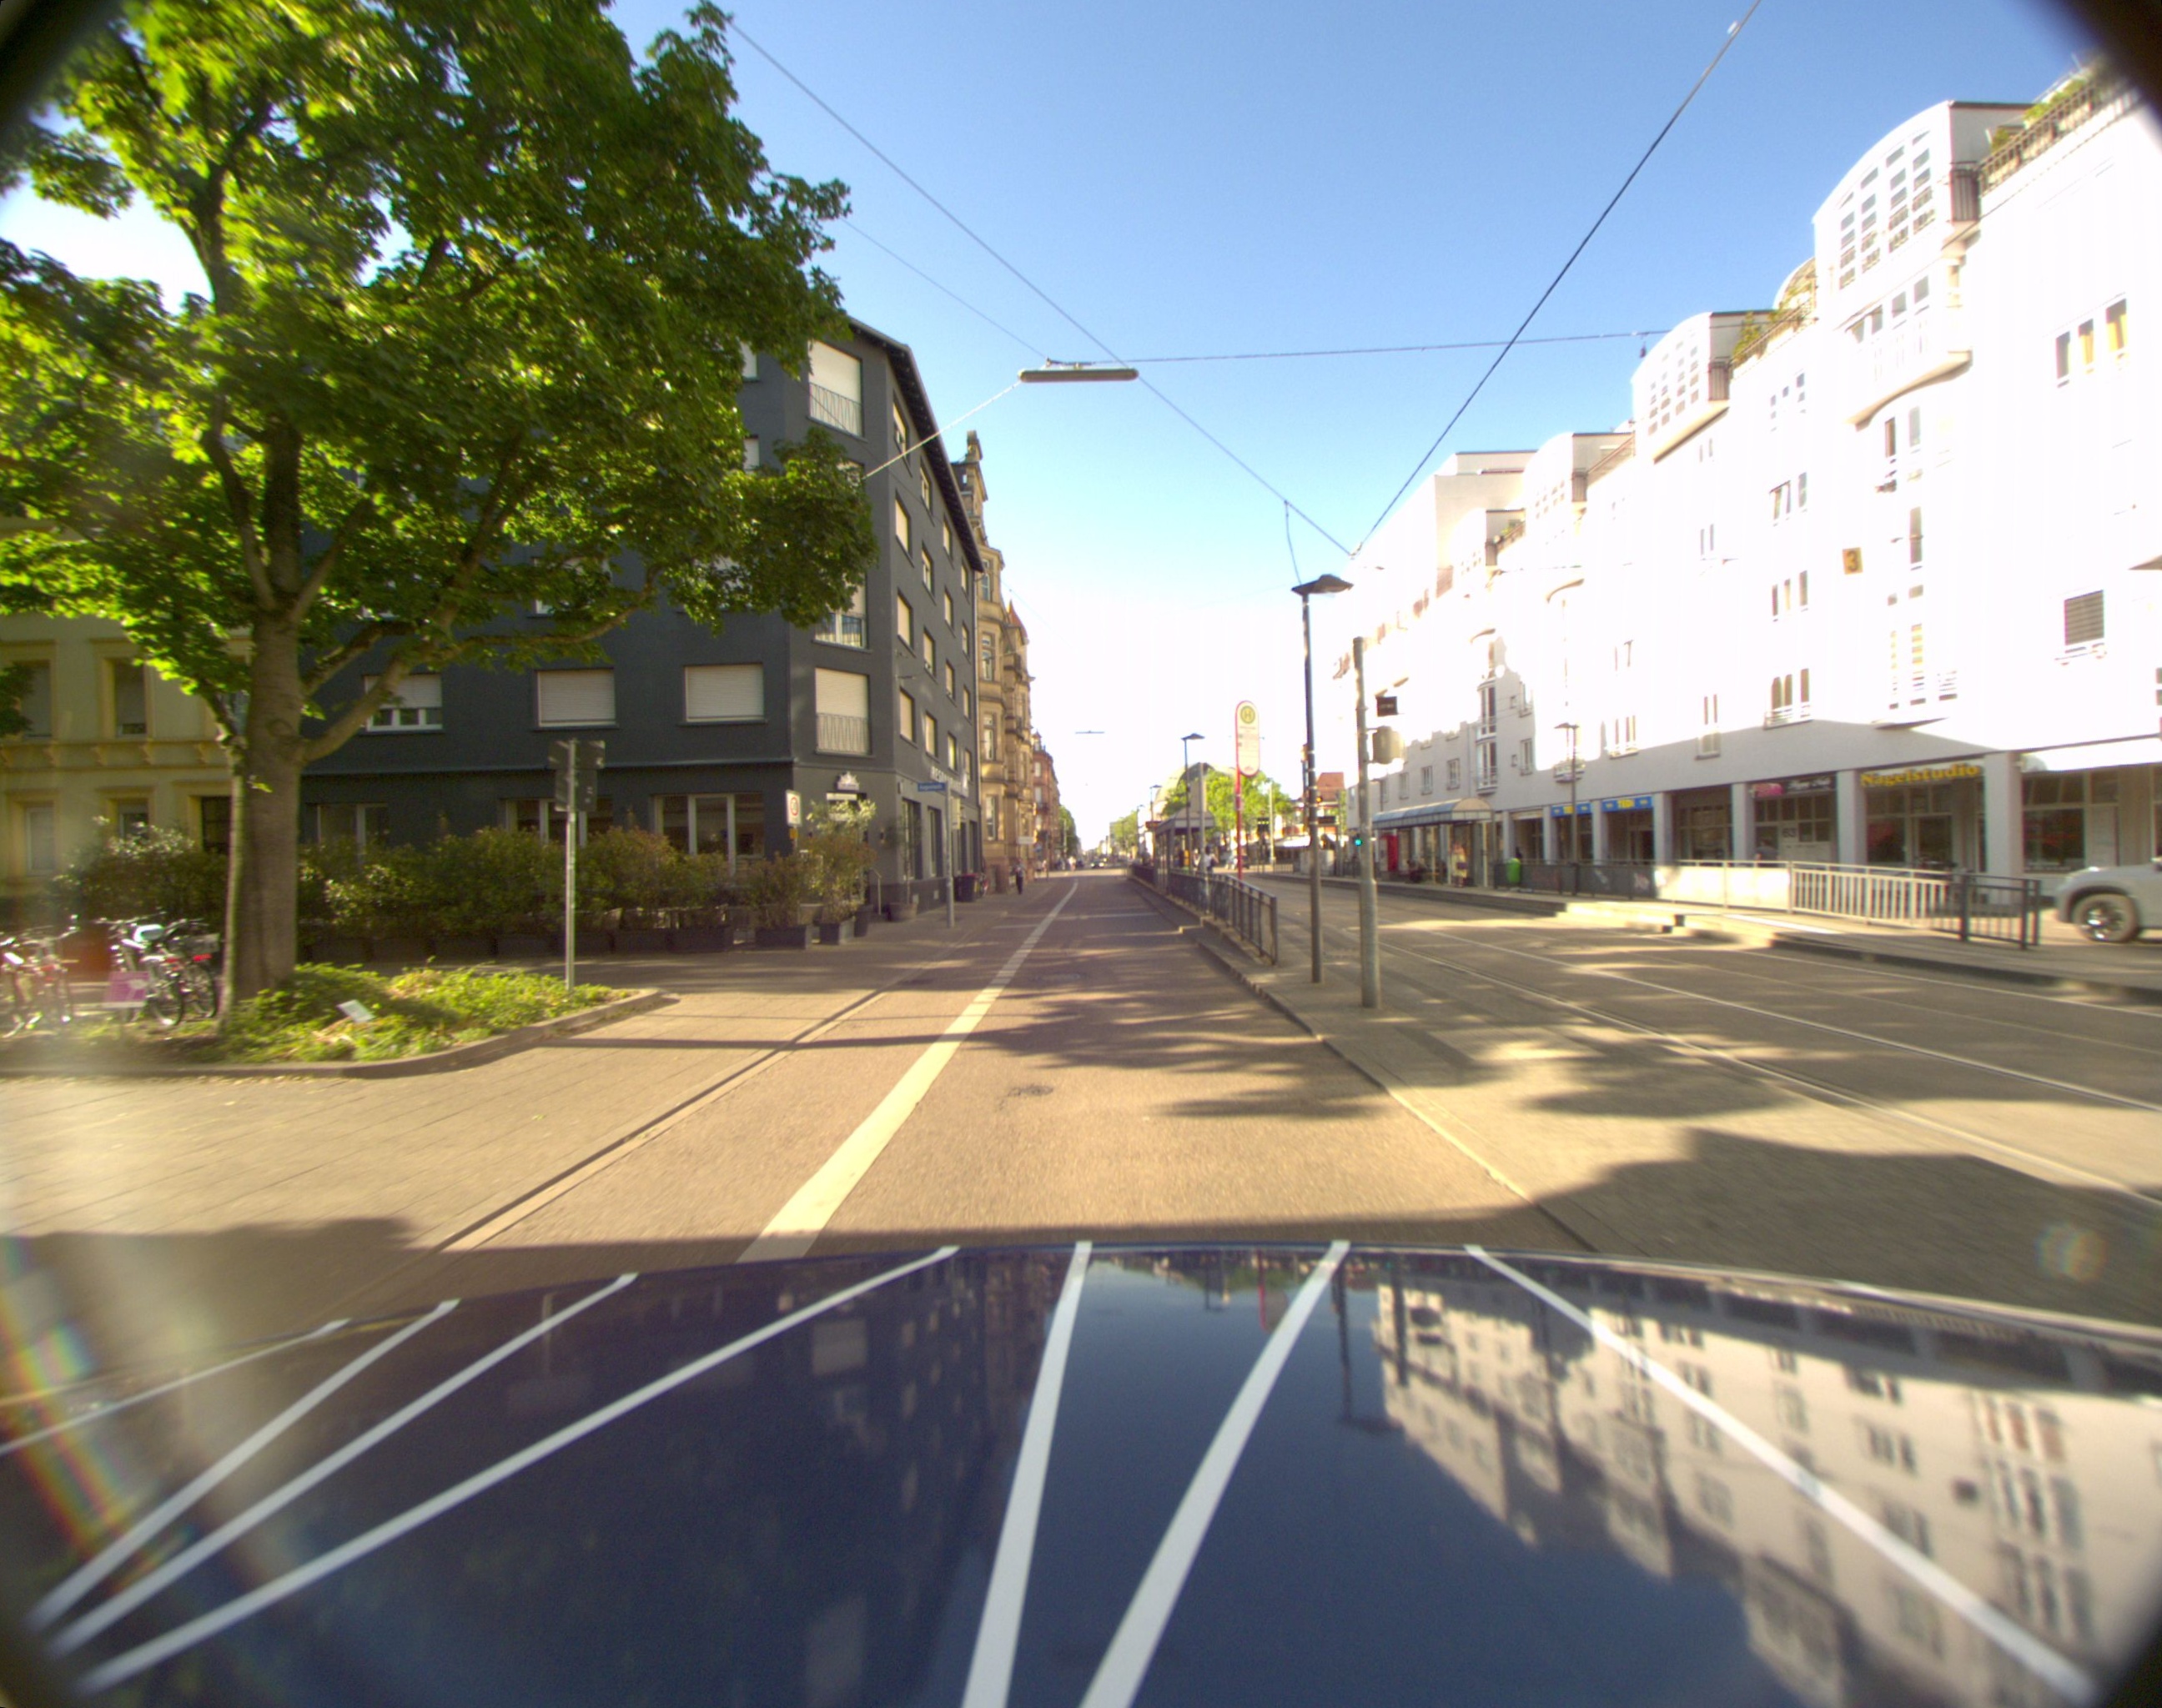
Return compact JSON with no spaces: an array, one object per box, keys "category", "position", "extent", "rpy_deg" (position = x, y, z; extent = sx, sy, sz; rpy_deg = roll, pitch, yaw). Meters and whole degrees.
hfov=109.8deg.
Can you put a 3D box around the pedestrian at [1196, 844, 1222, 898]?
[{"category":"pedestrian","position":[4.016,0.529,23.809],"extent":[0.716,1.635,0.400],"rpy_deg":[-2,1,3]}]

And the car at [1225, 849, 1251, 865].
[{"category":"car","position":[16.713,0.311,81.029],"extent":[1.998,1.608,4.000],"rpy_deg":[-2,0,1]}]

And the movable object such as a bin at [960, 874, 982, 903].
[{"category":"movable object such as a bin","position":[-4.184,1.312,29.013],"extent":[0.717,1.062,0.637],"rpy_deg":[-2,0,0]}]

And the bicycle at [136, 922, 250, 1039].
[{"category":"bicycle","position":[-10.203,1.396,8.713],"extent":[1.902,1.142,0.538],"rpy_deg":[-1,1,32]}]

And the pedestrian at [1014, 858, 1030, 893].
[{"category":"pedestrian","position":[-2.847,1.033,36.613],"extent":[0.695,1.680,0.688],"rpy_deg":[0,0,1]}]

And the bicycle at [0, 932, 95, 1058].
[{"category":"bicycle","position":[-10.736,1.402,7.868],"extent":[1.902,1.038,0.538],"rpy_deg":[-1,1,40]}]

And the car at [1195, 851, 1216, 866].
[{"category":"car","position":[16.343,0.537,99.877],"extent":[1.999,1.892,3.999],"rpy_deg":[-2,0,-2]}]

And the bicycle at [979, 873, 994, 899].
[{"category":"bicycle","position":[-4.083,1.353,32.771],"extent":[0.377,1.052,1.513],"rpy_deg":[-2,0,1]}]

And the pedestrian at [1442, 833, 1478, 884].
[{"category":"pedestrian","position":[12.447,0.152,24.971],"extent":[0.794,1.635,0.747],"rpy_deg":[-2,0,1]}]

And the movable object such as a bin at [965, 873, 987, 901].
[{"category":"movable object such as a bin","position":[-4.119,1.296,29.832],"extent":[0.717,1.062,0.637],"rpy_deg":[-2,0,0]}]

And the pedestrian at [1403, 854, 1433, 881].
[{"category":"pedestrian","position":[12.835,0.508,28.947],"extent":[0.794,0.983,0.747],"rpy_deg":[-2,3,1]}]

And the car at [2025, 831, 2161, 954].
[{"category":"car","position":[15.389,0.513,9.435],"extent":[1.783,1.658,4.774],"rpy_deg":[-1,0,7]}]
